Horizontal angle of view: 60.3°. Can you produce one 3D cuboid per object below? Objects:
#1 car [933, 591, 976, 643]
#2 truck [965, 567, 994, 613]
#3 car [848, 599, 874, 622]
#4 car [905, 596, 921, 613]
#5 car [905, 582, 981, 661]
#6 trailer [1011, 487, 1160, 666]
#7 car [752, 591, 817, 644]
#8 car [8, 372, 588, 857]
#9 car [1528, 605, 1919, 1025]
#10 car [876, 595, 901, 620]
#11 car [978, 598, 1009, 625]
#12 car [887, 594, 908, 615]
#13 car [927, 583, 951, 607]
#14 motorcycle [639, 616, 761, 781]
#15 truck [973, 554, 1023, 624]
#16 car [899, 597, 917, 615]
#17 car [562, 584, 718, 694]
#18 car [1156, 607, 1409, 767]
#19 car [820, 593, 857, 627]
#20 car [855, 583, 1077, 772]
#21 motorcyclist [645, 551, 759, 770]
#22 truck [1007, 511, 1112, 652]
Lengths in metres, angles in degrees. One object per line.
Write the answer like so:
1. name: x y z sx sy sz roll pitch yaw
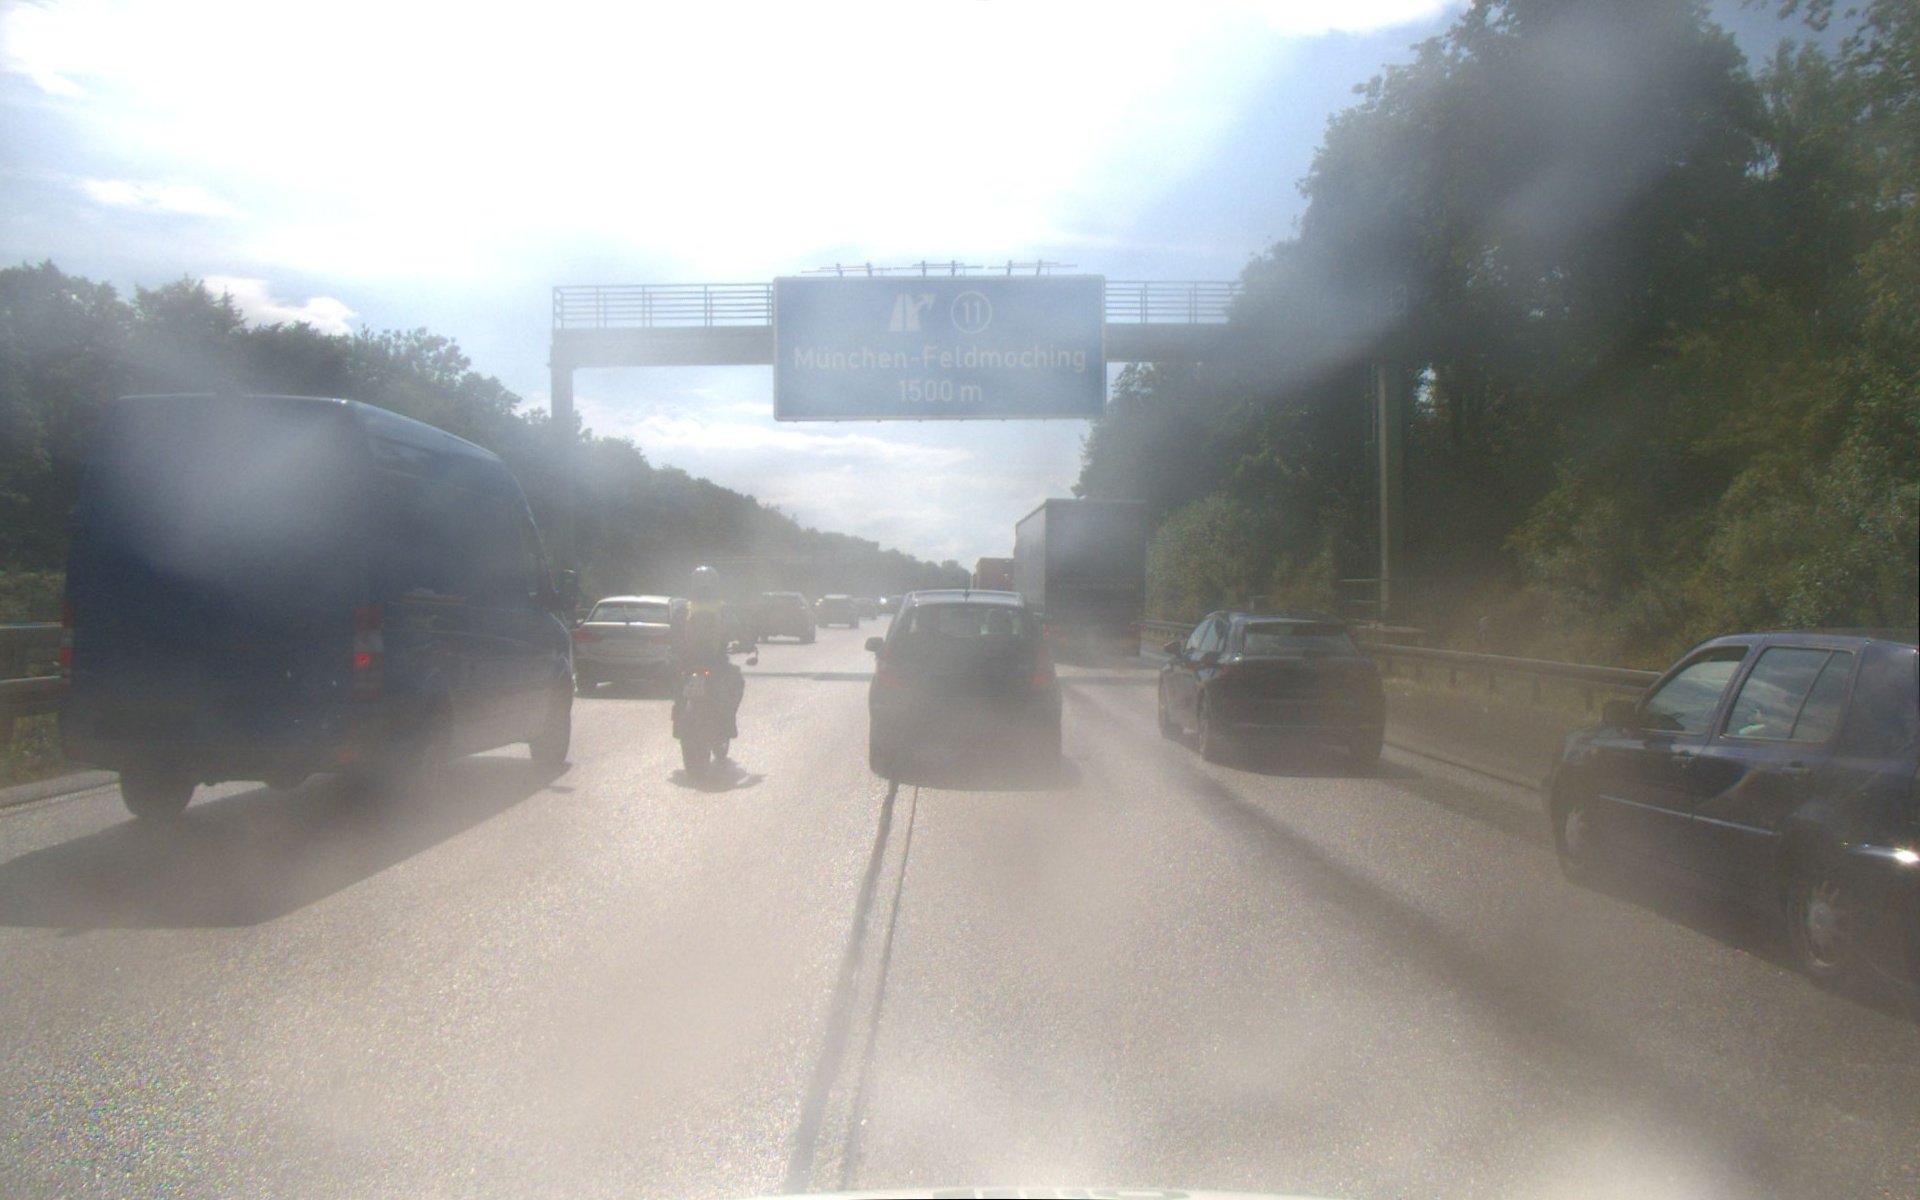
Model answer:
1. car: -0.227 0.645 64.896 1.641 1.970 3.772 1 0 -1
2. truck: 1.998 -0.977 177.577 2.823 4.769 12.656 1 0 0
3. car: -6.857 0.732 114.365 1.641 1.516 3.436 1 0 -1
4. car: -5.810 0.578 205.334 1.953 2.049 3.999 1 0 -1
5. car: -0.473 0.573 45.179 1.953 2.049 3.999 1 0 -1
6. trailer: 3.325 -0.573 47.944 3.025 4.388 14.102 1 0 -1
7. car: -5.753 0.547 54.689 1.855 1.656 4.193 1 0 -2
8. car: -4.353 0.083 12.152 1.974 2.695 5.775 1 0 -1
9. car: 4.154 0.772 7.721 1.617 1.481 3.743 0 0 -2
10. car: -6.042 0.626 139.630 1.953 2.049 3.999 1 0 -1
11. car: 1.928 0.668 95.694 1.641 1.516 3.436 1 0 -1
12. car: -6.129 0.480 163.002 1.953 2.049 3.999 1 0 -1
13. car: -1.386 -0.340 109.223 1.598 1.516 3.436 1 0 -1
14. motorcycle: -2.206 0.796 14.296 0.803 1.285 2.116 1 0 -3
15. truck: 2.511 -0.725 112.121 3.136 4.481 9.431 1 0 0
16. car: -5.870 0.687 186.021 1.953 2.049 3.999 1 0 -1
17. car: -5.053 0.578 26.646 1.722 1.622 4.330 1 0 -1
18. car: 3.186 0.795 17.187 1.719 1.421 4.367 1 0 -1
19. car: -6.000 0.470 81.992 1.641 1.625 3.436 1 0 -1
20. car: 0.024 0.663 16.285 1.876 1.592 4.313 1 0 -1
21. motorcyclist: -2.198 0.500 14.253 0.805 1.791 1.389 1 -1 -3
22. truck: 3.239 -0.570 55.247 2.990 4.401 5.884 1 0 -1
